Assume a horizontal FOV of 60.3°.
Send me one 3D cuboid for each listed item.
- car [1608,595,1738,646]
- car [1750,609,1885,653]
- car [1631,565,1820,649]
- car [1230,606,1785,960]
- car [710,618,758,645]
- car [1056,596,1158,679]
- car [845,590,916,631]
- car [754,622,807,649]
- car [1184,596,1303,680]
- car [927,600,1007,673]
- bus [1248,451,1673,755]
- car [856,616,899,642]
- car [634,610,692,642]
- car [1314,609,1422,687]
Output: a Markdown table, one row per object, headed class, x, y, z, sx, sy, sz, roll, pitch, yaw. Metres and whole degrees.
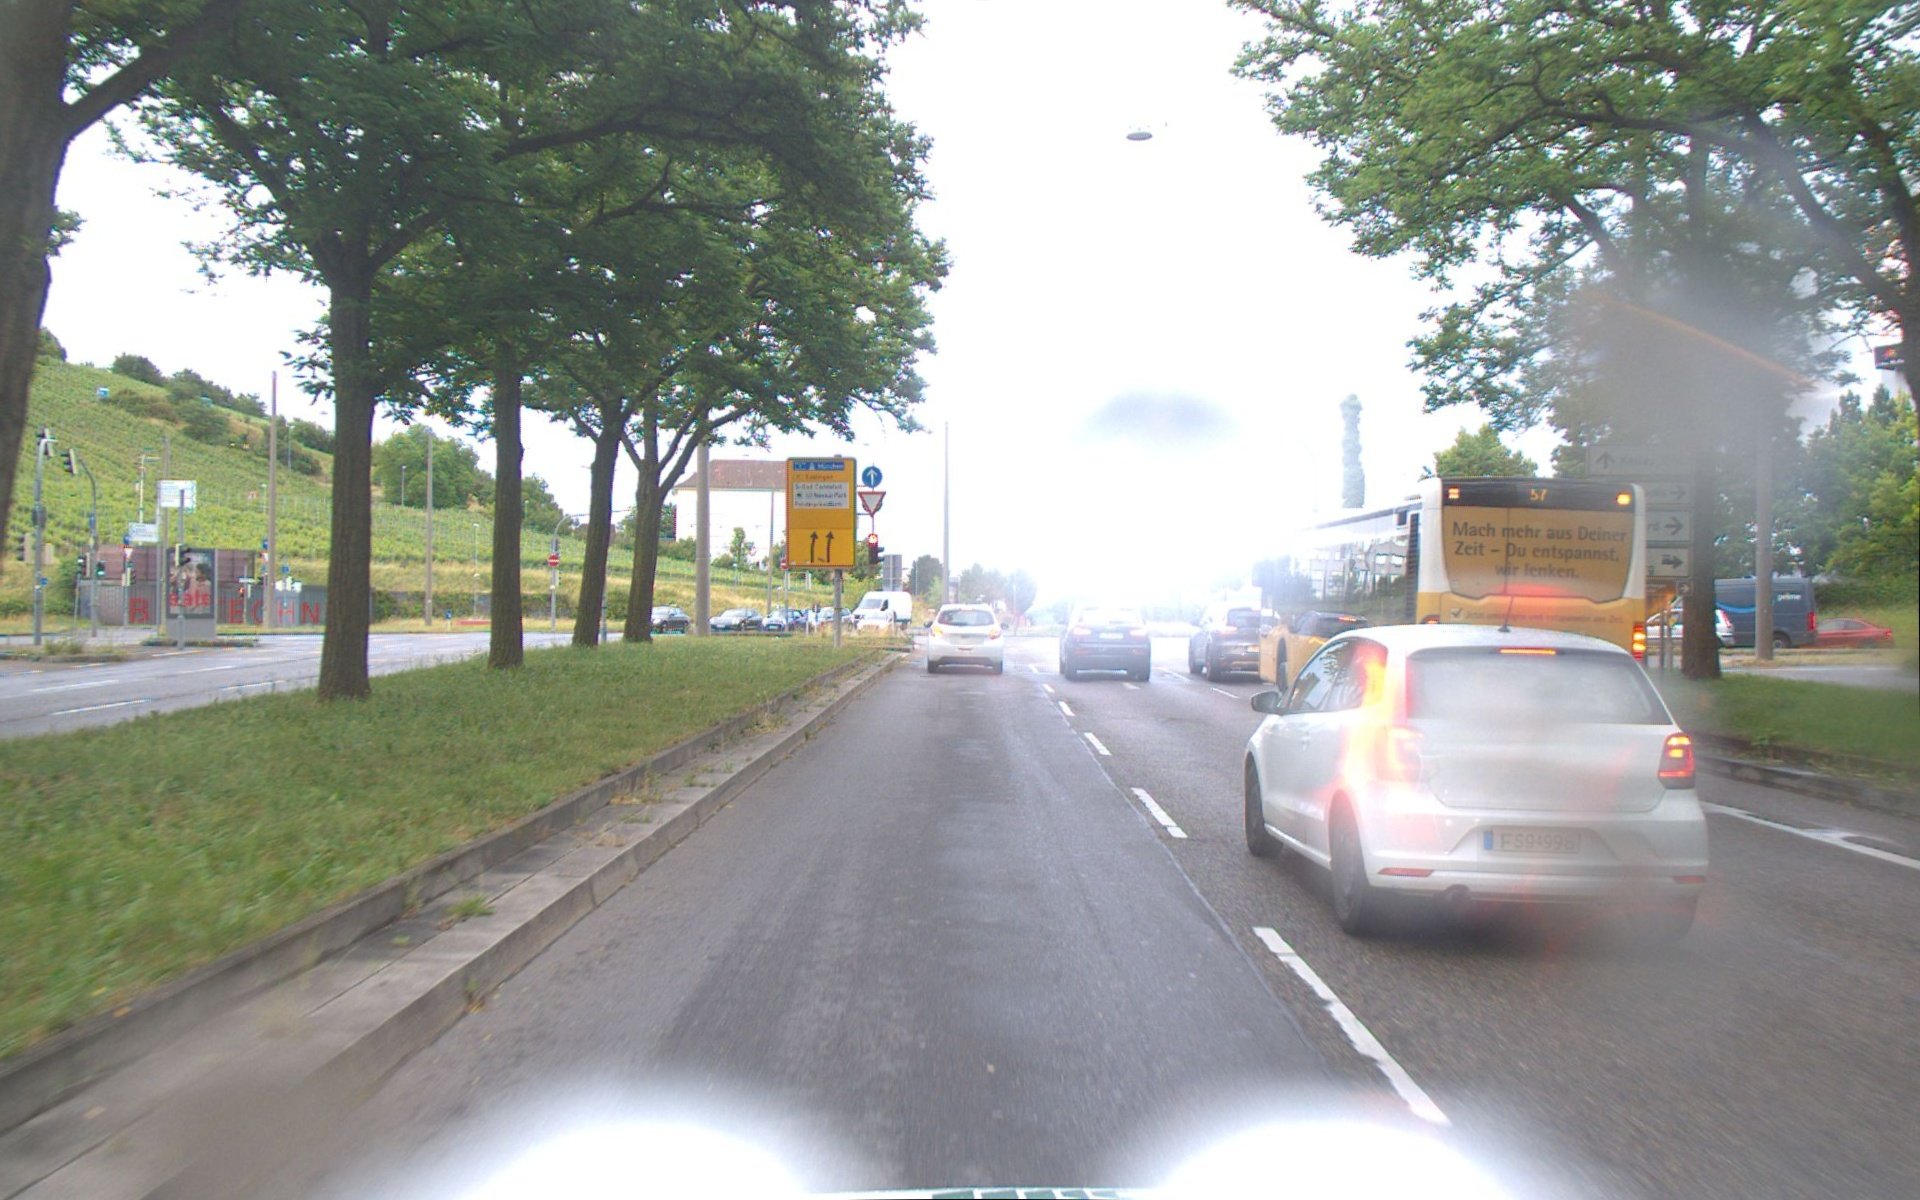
| class | x | y | z | sx | sy | sz | roll | pitch | yaw |
| --- | --- | --- | --- | --- | --- | --- | --- | --- | --- |
| car | 24.136 | 0.680 | 56.023 | 3.968 | 1.596 | 1.869 | 0 | -3 | 25 |
| car | 32.440 | 1.178 | 62.705 | 4.434 | 1.496 | 2.160 | 2 | -1 | 26 |
| car | 26.704 | 0.238 | 57.779 | 5.894 | 2.789 | 2.078 | 0 | -2 | 28 |
| car | 2.666 | 0.822 | 9.011 | 1.705 | 1.457 | 3.811 | 2 | -1 | -1 |
| car | -12.741 | 1.782 | 93.449 | 1.748 | 1.420 | 3.884 | 1 | -2 | 7 |
| car | 3.105 | 0.798 | 35.573 | 1.845 | 1.623 | 4.113 | 2 | -1 | 1 |
| car | -5.488 | 0.768 | 114.849 | 1.956 | 2.604 | 6.159 | 1 | -1 | 28 |
| car | -9.884 | 1.973 | 91.366 | 1.748 | 1.420 | 3.884 | 1 | -2 | 11 |
| car | 6.180 | 0.782 | 36.564 | 1.827 | 1.703 | 4.565 | 1 | 0 | 0 |
| car | 0.172 | 0.813 | 37.242 | 1.682 | 1.515 | 4.000 | 1 | -1 | 1 |
| bus | 6.491 | 0.043 | 24.025 | 2.670 | 3.207 | 12.147 | 2 | 0 | 1 |
| car | -4.594 | 1.634 | 92.305 | 1.738 | 1.450 | 4.376 | 0 | -1 | 6 |
| car | -16.419 | 1.465 | 91.636 | 1.790 | 1.652 | 4.569 | 2 | -1 | 7 |
| car | 8.773 | 1.028 | 35.327 | 1.826 | 1.524 | 4.152 | 1 | -1 | 19 |
